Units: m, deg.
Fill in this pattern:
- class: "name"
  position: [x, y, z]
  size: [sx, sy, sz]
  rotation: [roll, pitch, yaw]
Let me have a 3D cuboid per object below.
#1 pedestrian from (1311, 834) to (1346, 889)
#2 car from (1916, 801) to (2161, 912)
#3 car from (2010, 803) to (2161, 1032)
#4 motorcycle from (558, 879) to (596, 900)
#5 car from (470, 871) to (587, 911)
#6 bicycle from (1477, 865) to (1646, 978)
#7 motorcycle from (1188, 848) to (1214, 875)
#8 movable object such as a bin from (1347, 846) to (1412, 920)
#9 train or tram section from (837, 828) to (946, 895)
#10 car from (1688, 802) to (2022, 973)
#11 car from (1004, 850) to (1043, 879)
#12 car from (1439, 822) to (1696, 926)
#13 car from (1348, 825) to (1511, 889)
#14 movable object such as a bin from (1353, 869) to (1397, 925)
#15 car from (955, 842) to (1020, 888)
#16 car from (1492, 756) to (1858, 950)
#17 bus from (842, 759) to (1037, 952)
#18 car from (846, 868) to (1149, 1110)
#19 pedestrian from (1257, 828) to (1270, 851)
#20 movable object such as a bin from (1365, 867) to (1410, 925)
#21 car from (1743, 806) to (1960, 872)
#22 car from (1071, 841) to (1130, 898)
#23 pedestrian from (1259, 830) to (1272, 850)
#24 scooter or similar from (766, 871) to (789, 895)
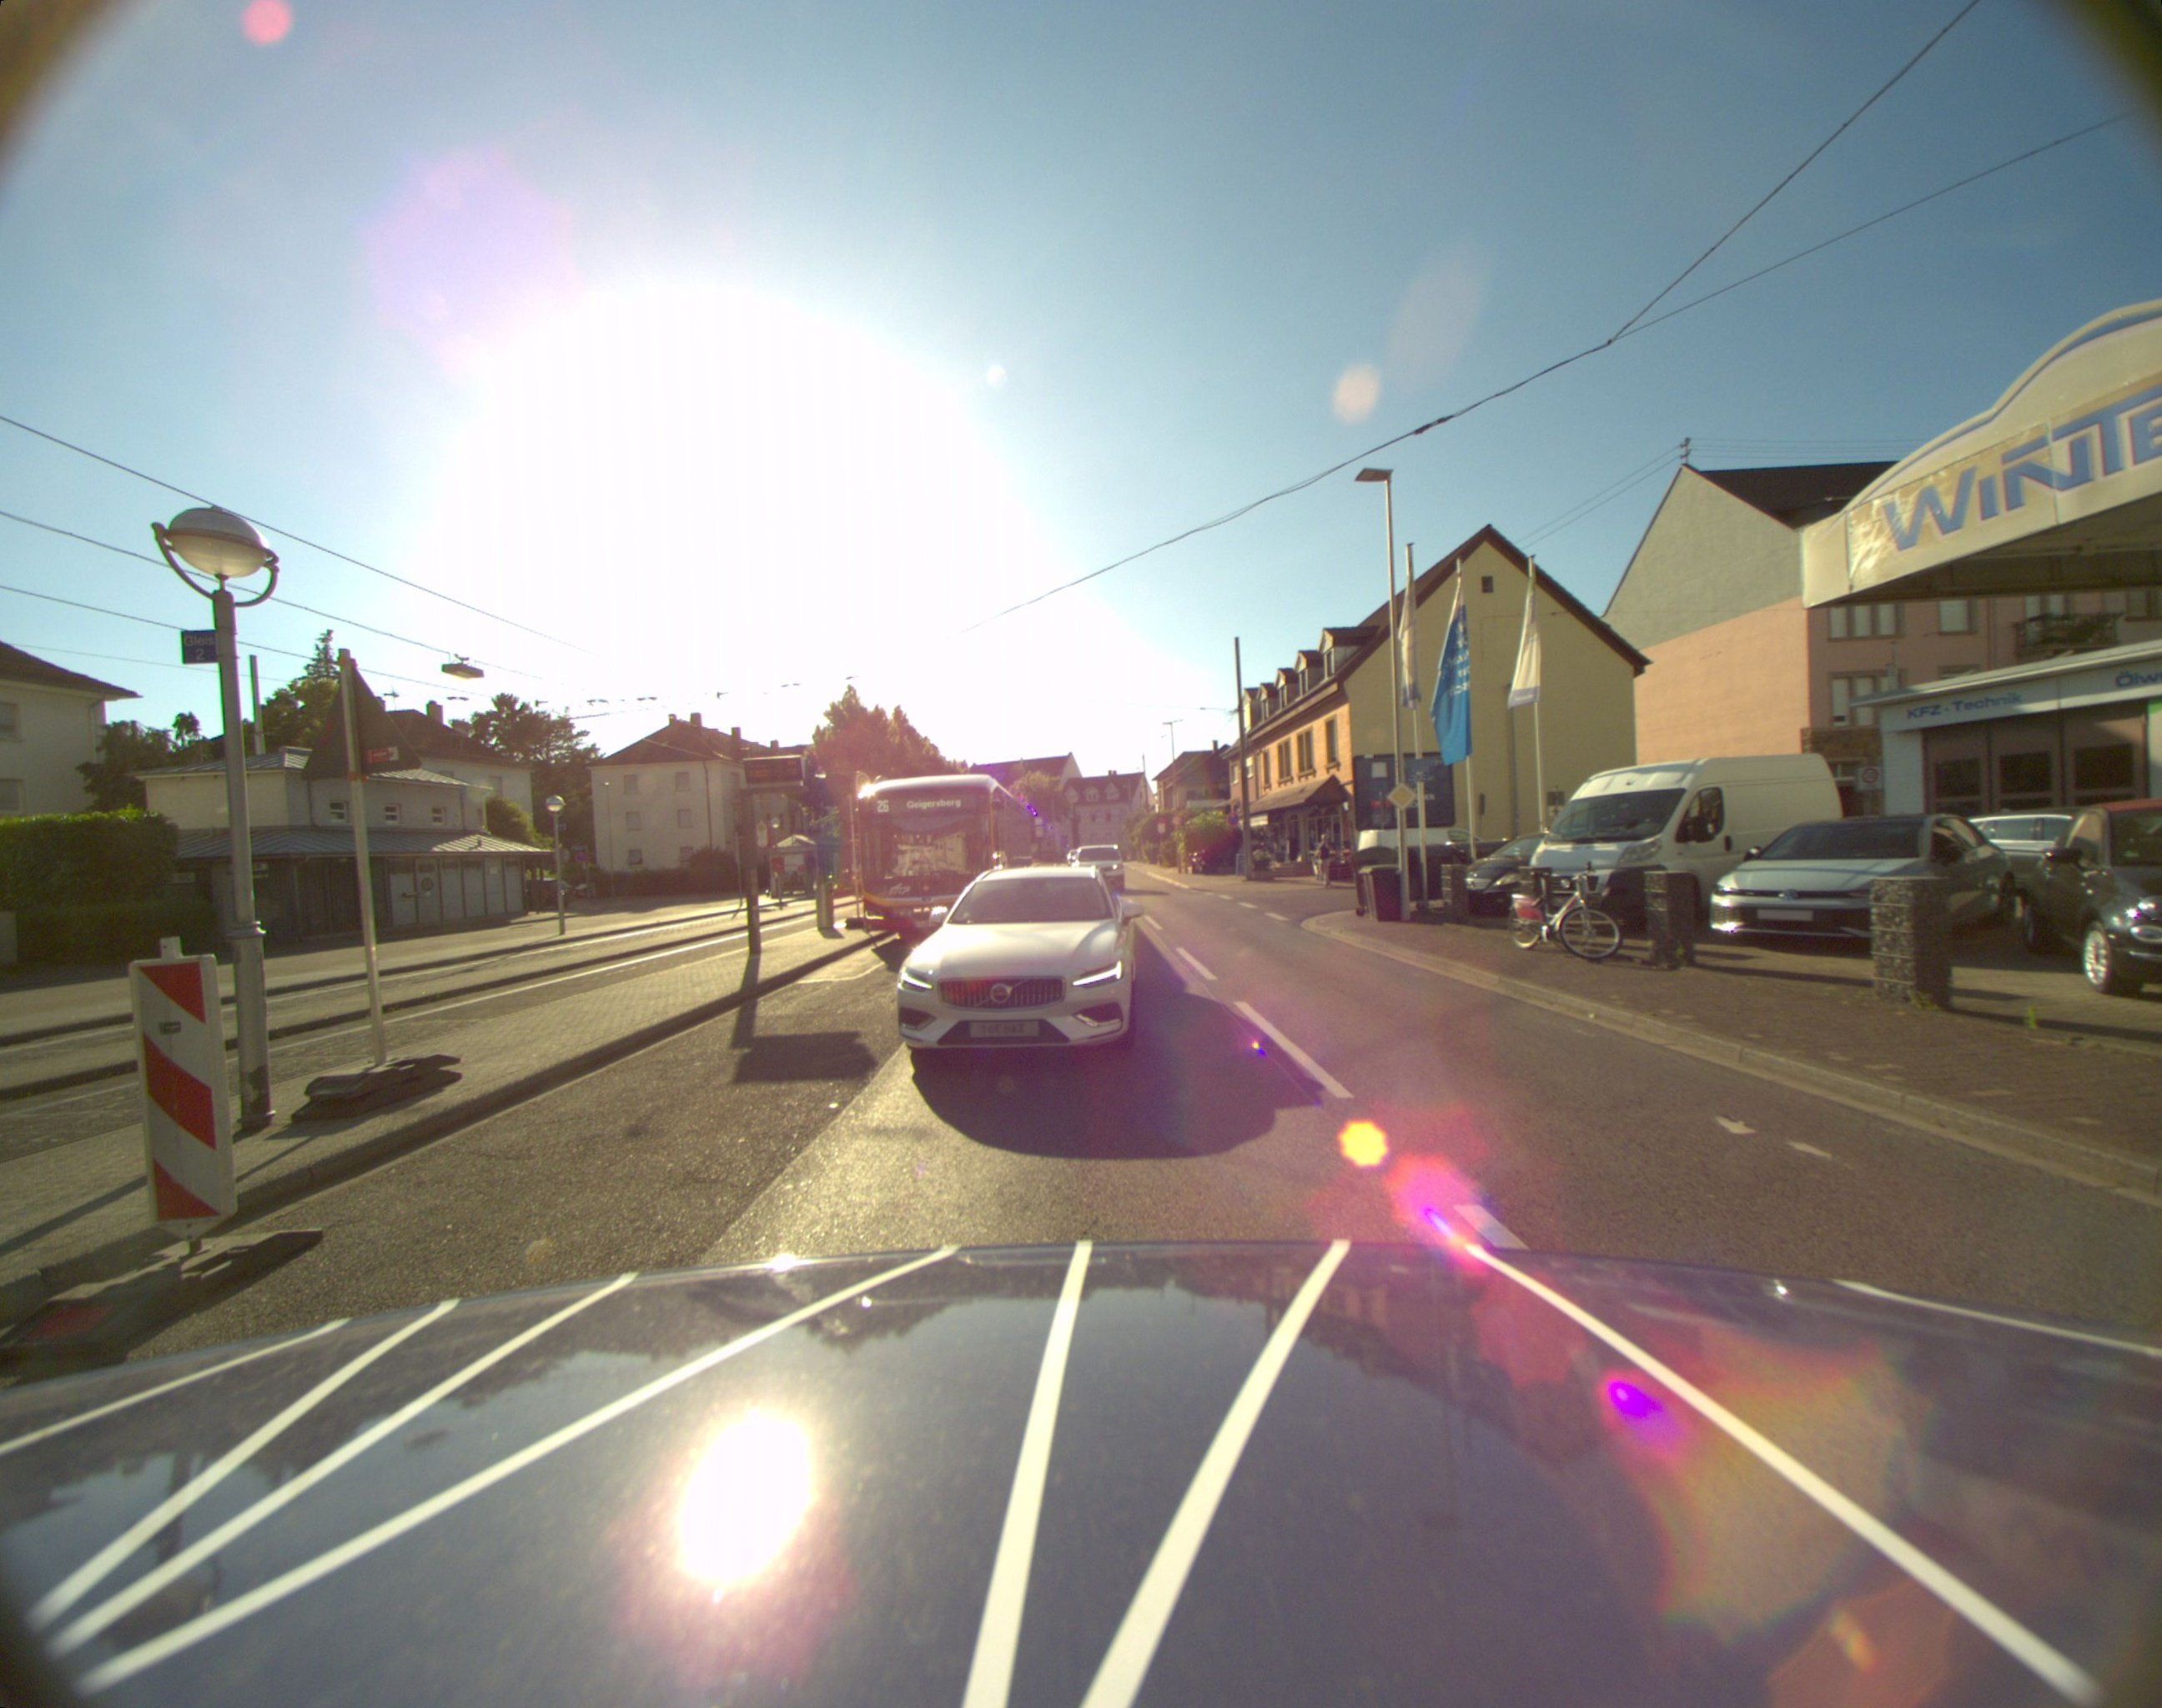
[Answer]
- class: "pedestrian"
  position: [8.554, 0.263, 26.307]
  size: [0.818, 1.857, 0.797]
  rotation: [-2, 1, 43]
- class: "car"
  position: [16.359, -0.008, 11.871]
  size: [1.772, 1.559, 4.315]
  rotation: [-4, 0, -1]
- class: "car"
  position: [9.111, 0.368, 6.122]
  size: [1.617, 1.559, 3.400]
  rotation: [-2, 1, 43]
- class: "motorcycle"
  position: [-31.092, 2.169, 46.878]
  size: [1.826, 1.155, 0.558]
  rotation: [-3, 1, -3]
- class: "car"
  position: [-27.826, 1.851, 38.368]
  size: [4.448, 1.759, 2.000]
  rotation: [-2, 1, 4]
- class: "bicycle"
  position: [5.809, 0.760, 9.331]
  size: [0.725, 1.171, 1.779]
  rotation: [-3, 1, -9]
- class: "motorcycle"
  position: [6.322, 0.379, 40.202]
  size: [0.841, 1.275, 2.231]
  rotation: [-4, 1, -3]
- class: "movable object such as a bin"
  position: [6.361, 0.611, 16.169]
  size: [1.055, 1.473, 1.315]
  rotation: [-4, -2, 28]
- class: "train or tram section"
  position: [-11.662, 0.177, 49.128]
  size: [2.965, 3.514, 15.964]
  rotation: [-2, 2, 0]
- class: "car"
  position: [9.363, 0.285, 9.142]
  size: [4.005, 1.559, 1.769]
  rotation: [-4, 0, -29]
- class: "car"
  position: [-3.553, 0.646, 47.463]
  size: [1.998, 1.664, 4.000]
  rotation: [-2, 0, 1]
- class: "car"
  position: [9.141, 0.341, 14.371]
  size: [4.001, 1.559, 1.771]
  rotation: [-4, 0, -14]
- class: "car"
  position: [11.876, 0.092, 26.116]
  size: [4.627, 1.922, 1.999]
  rotation: [-3, 1, -2]
- class: "movable object such as a bin"
  position: [5.867, 0.848, 15.189]
  size: [0.661, 1.056, 0.585]
  rotation: [-5, -1, 12]
- class: "car"
  position: [-3.644, 0.413, 30.367]
  size: [1.998, 1.664, 4.000]
  rotation: [-2, 0, 1]
- class: "car"
  position: [9.182, -0.117, 11.751]
  size: [5.076, 2.455, 2.105]
  rotation: [-4, 1, -22]
- class: "bus"
  position: [-2.916, -0.010, 19.841]
  size: [2.695, 3.396, 12.017]
  rotation: [-3, 0, 0]
- class: "car"
  position: [-0.439, 0.968, 7.375]
  size: [1.998, 1.454, 4.450]
  rotation: [-3, 0, 3]
- class: "pedestrian"
  position: [9.994, -0.799, 41.619]
  size: [0.524, 1.251, 0.465]
  rotation: [-3, 1, 1]
- class: "movable object such as a bin"
  position: [5.860, 0.803, 14.559]
  size: [0.641, 1.063, 0.581]
  rotation: [-3, -2, 12]
- class: "car"
  position: [21.380, -0.455, 21.232]
  size: [3.997, 1.517, 1.998]
  rotation: [-3, 5, 0]
- class: "car"
  position: [0.668, 0.546, 29.728]
  size: [1.871, 1.922, 4.791]
  rotation: [-4, 0, -2]
- class: "pedestrian"
  position: [9.808, -0.756, 40.384]
  size: [0.525, 1.041, 0.383]
  rotation: [-3, 1, -16]
- class: "scooter or similar"
  position: [-16.103, 1.516, 40.308]
  size: [0.467, 1.201, 1.210]
  rotation: [-2, 1, 11]
